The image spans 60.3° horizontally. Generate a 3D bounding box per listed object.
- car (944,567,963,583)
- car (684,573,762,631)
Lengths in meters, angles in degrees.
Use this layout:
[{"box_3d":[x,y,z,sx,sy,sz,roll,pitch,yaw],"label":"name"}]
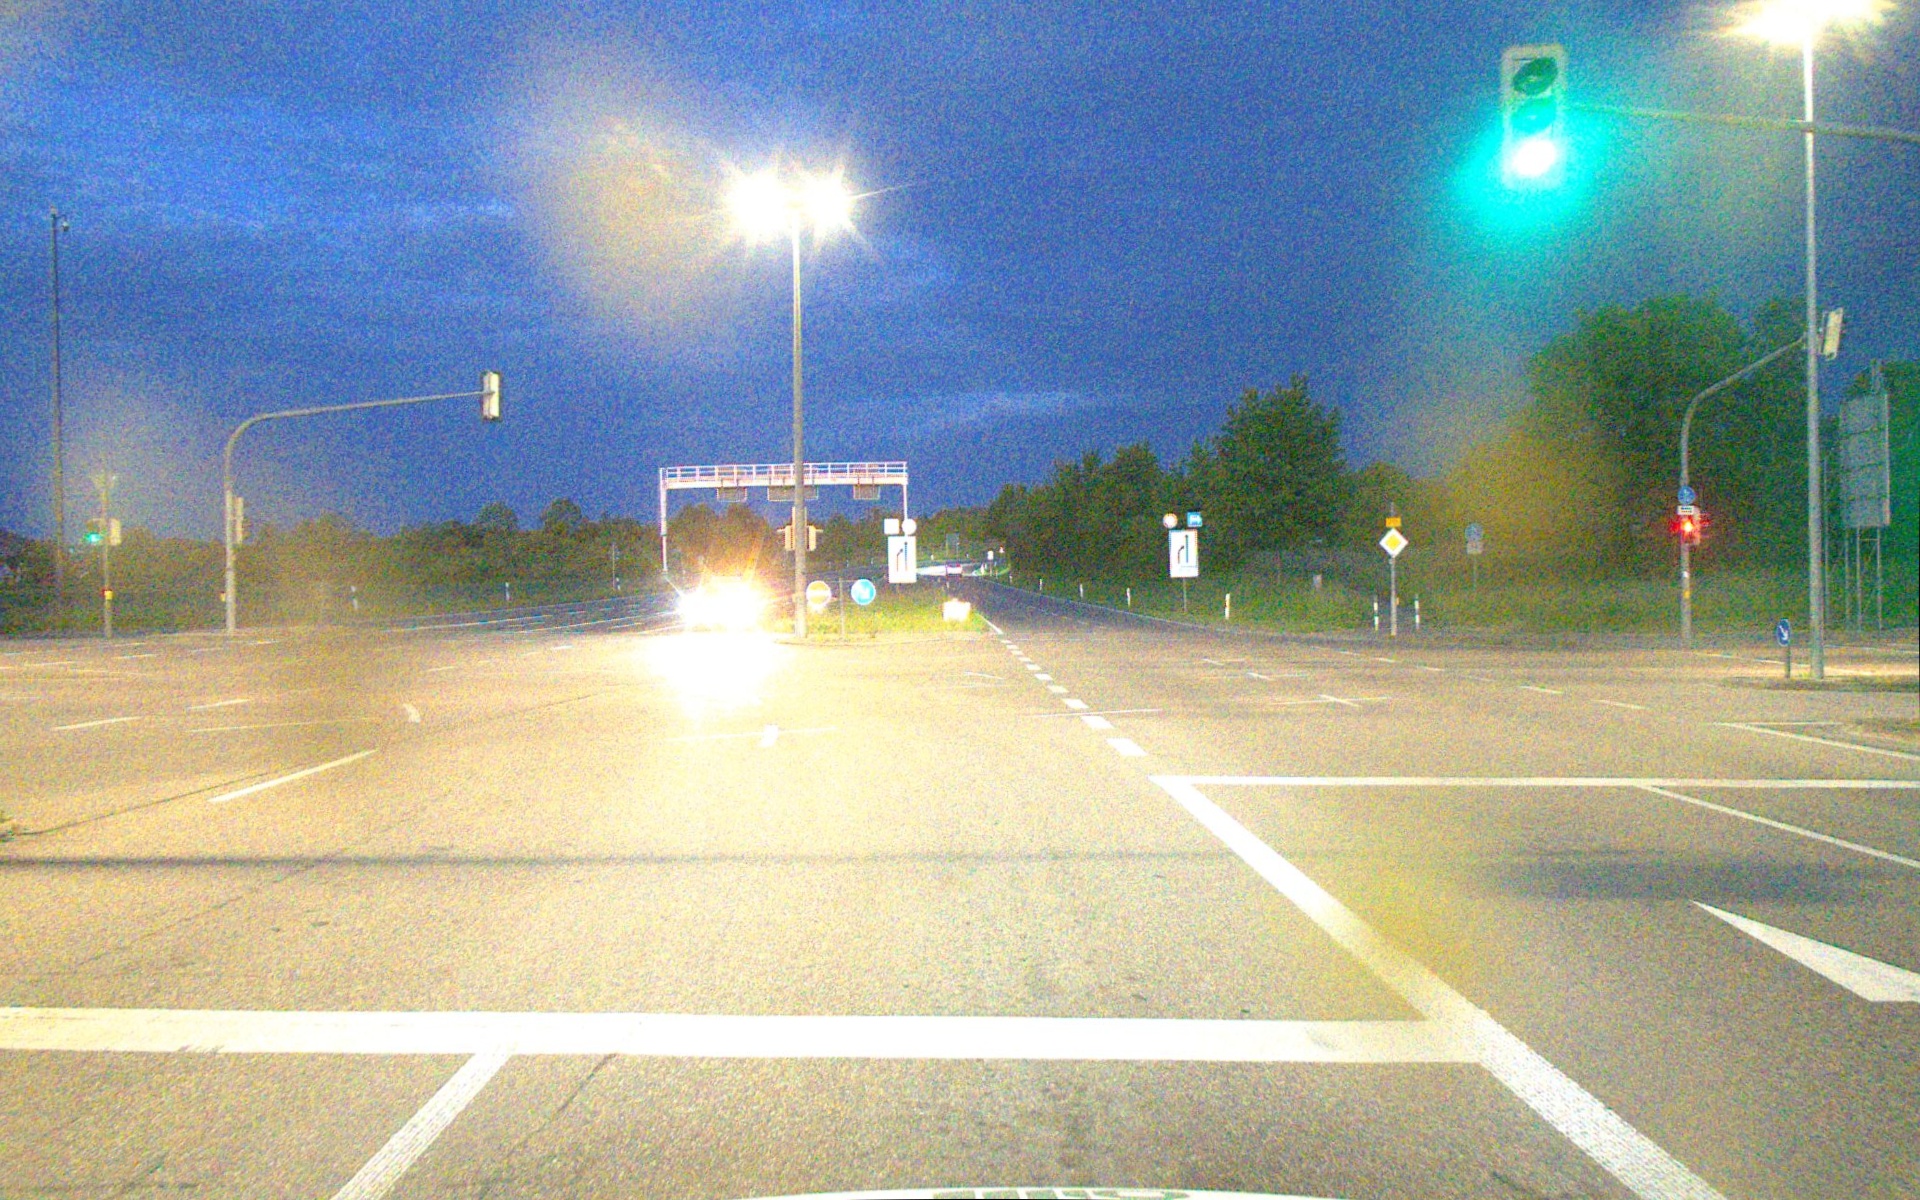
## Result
[{"box_3d":[-0.711,-2.707,182.079,1.966,1.639,3.846,0,-1,1],"label":"car"},{"box_3d":[-7.302,0.030,51.343,1.953,1.728,3.999,0,1,-2],"label":"car"}]
